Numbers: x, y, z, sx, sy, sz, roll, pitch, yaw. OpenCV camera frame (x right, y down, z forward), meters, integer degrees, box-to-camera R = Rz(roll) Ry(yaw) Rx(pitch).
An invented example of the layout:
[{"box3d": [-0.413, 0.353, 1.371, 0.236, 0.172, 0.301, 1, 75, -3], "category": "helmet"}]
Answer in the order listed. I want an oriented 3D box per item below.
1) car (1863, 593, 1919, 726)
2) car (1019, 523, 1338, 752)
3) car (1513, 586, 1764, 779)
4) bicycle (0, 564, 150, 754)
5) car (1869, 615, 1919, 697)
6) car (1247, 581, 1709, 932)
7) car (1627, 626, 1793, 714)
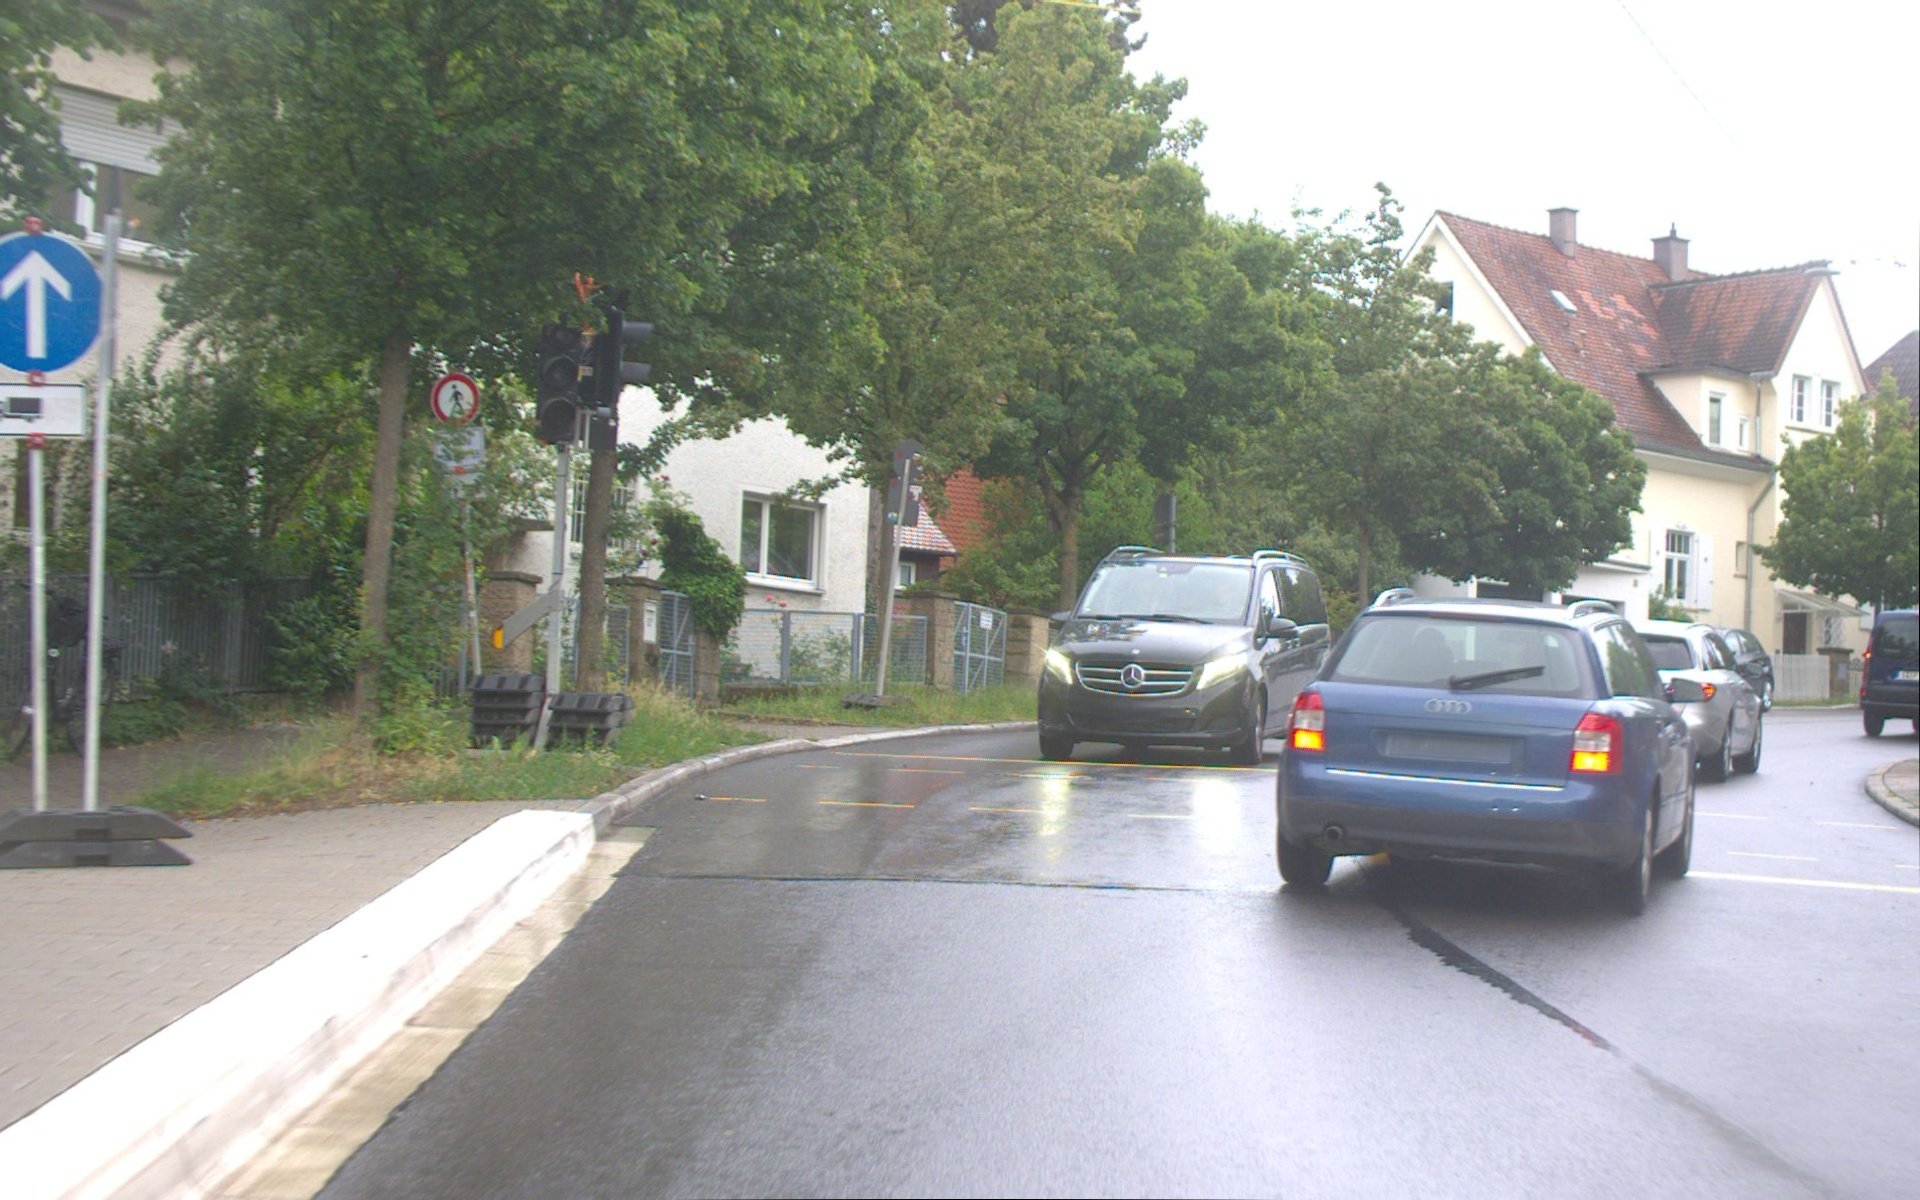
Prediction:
[{"box3d": [14.349, 0.827, 49.804, 1.736, 1.763, 4.229, 0, 1, 25], "category": "car"}, {"box3d": [2.089, 0.343, 31.181, 1.898, 1.883, 5.149, 1, -1, 15], "category": "car"}, {"box3d": [6.510, 0.723, 32.644, 1.977, 1.629, 4.232, 0, 1, 16], "category": "car"}, {"box3d": [-6.430, 0.393, 24.809, 0.490, 1.267, 2.273, 4, 1, 2], "category": "bicycle"}, {"box3d": [20.101, 1.153, 67.686, 4.891, 1.540, 1.872, 2, -1, -42], "category": "car"}, {"box3d": [2.691, 0.671, 17.103, 1.735, 1.461, 3.997, 0, 1, 16], "category": "car"}, {"box3d": [12.993, 1.210, 59.410, 1.673, 1.461, 3.888, 0, -1, 30], "category": "car"}]
